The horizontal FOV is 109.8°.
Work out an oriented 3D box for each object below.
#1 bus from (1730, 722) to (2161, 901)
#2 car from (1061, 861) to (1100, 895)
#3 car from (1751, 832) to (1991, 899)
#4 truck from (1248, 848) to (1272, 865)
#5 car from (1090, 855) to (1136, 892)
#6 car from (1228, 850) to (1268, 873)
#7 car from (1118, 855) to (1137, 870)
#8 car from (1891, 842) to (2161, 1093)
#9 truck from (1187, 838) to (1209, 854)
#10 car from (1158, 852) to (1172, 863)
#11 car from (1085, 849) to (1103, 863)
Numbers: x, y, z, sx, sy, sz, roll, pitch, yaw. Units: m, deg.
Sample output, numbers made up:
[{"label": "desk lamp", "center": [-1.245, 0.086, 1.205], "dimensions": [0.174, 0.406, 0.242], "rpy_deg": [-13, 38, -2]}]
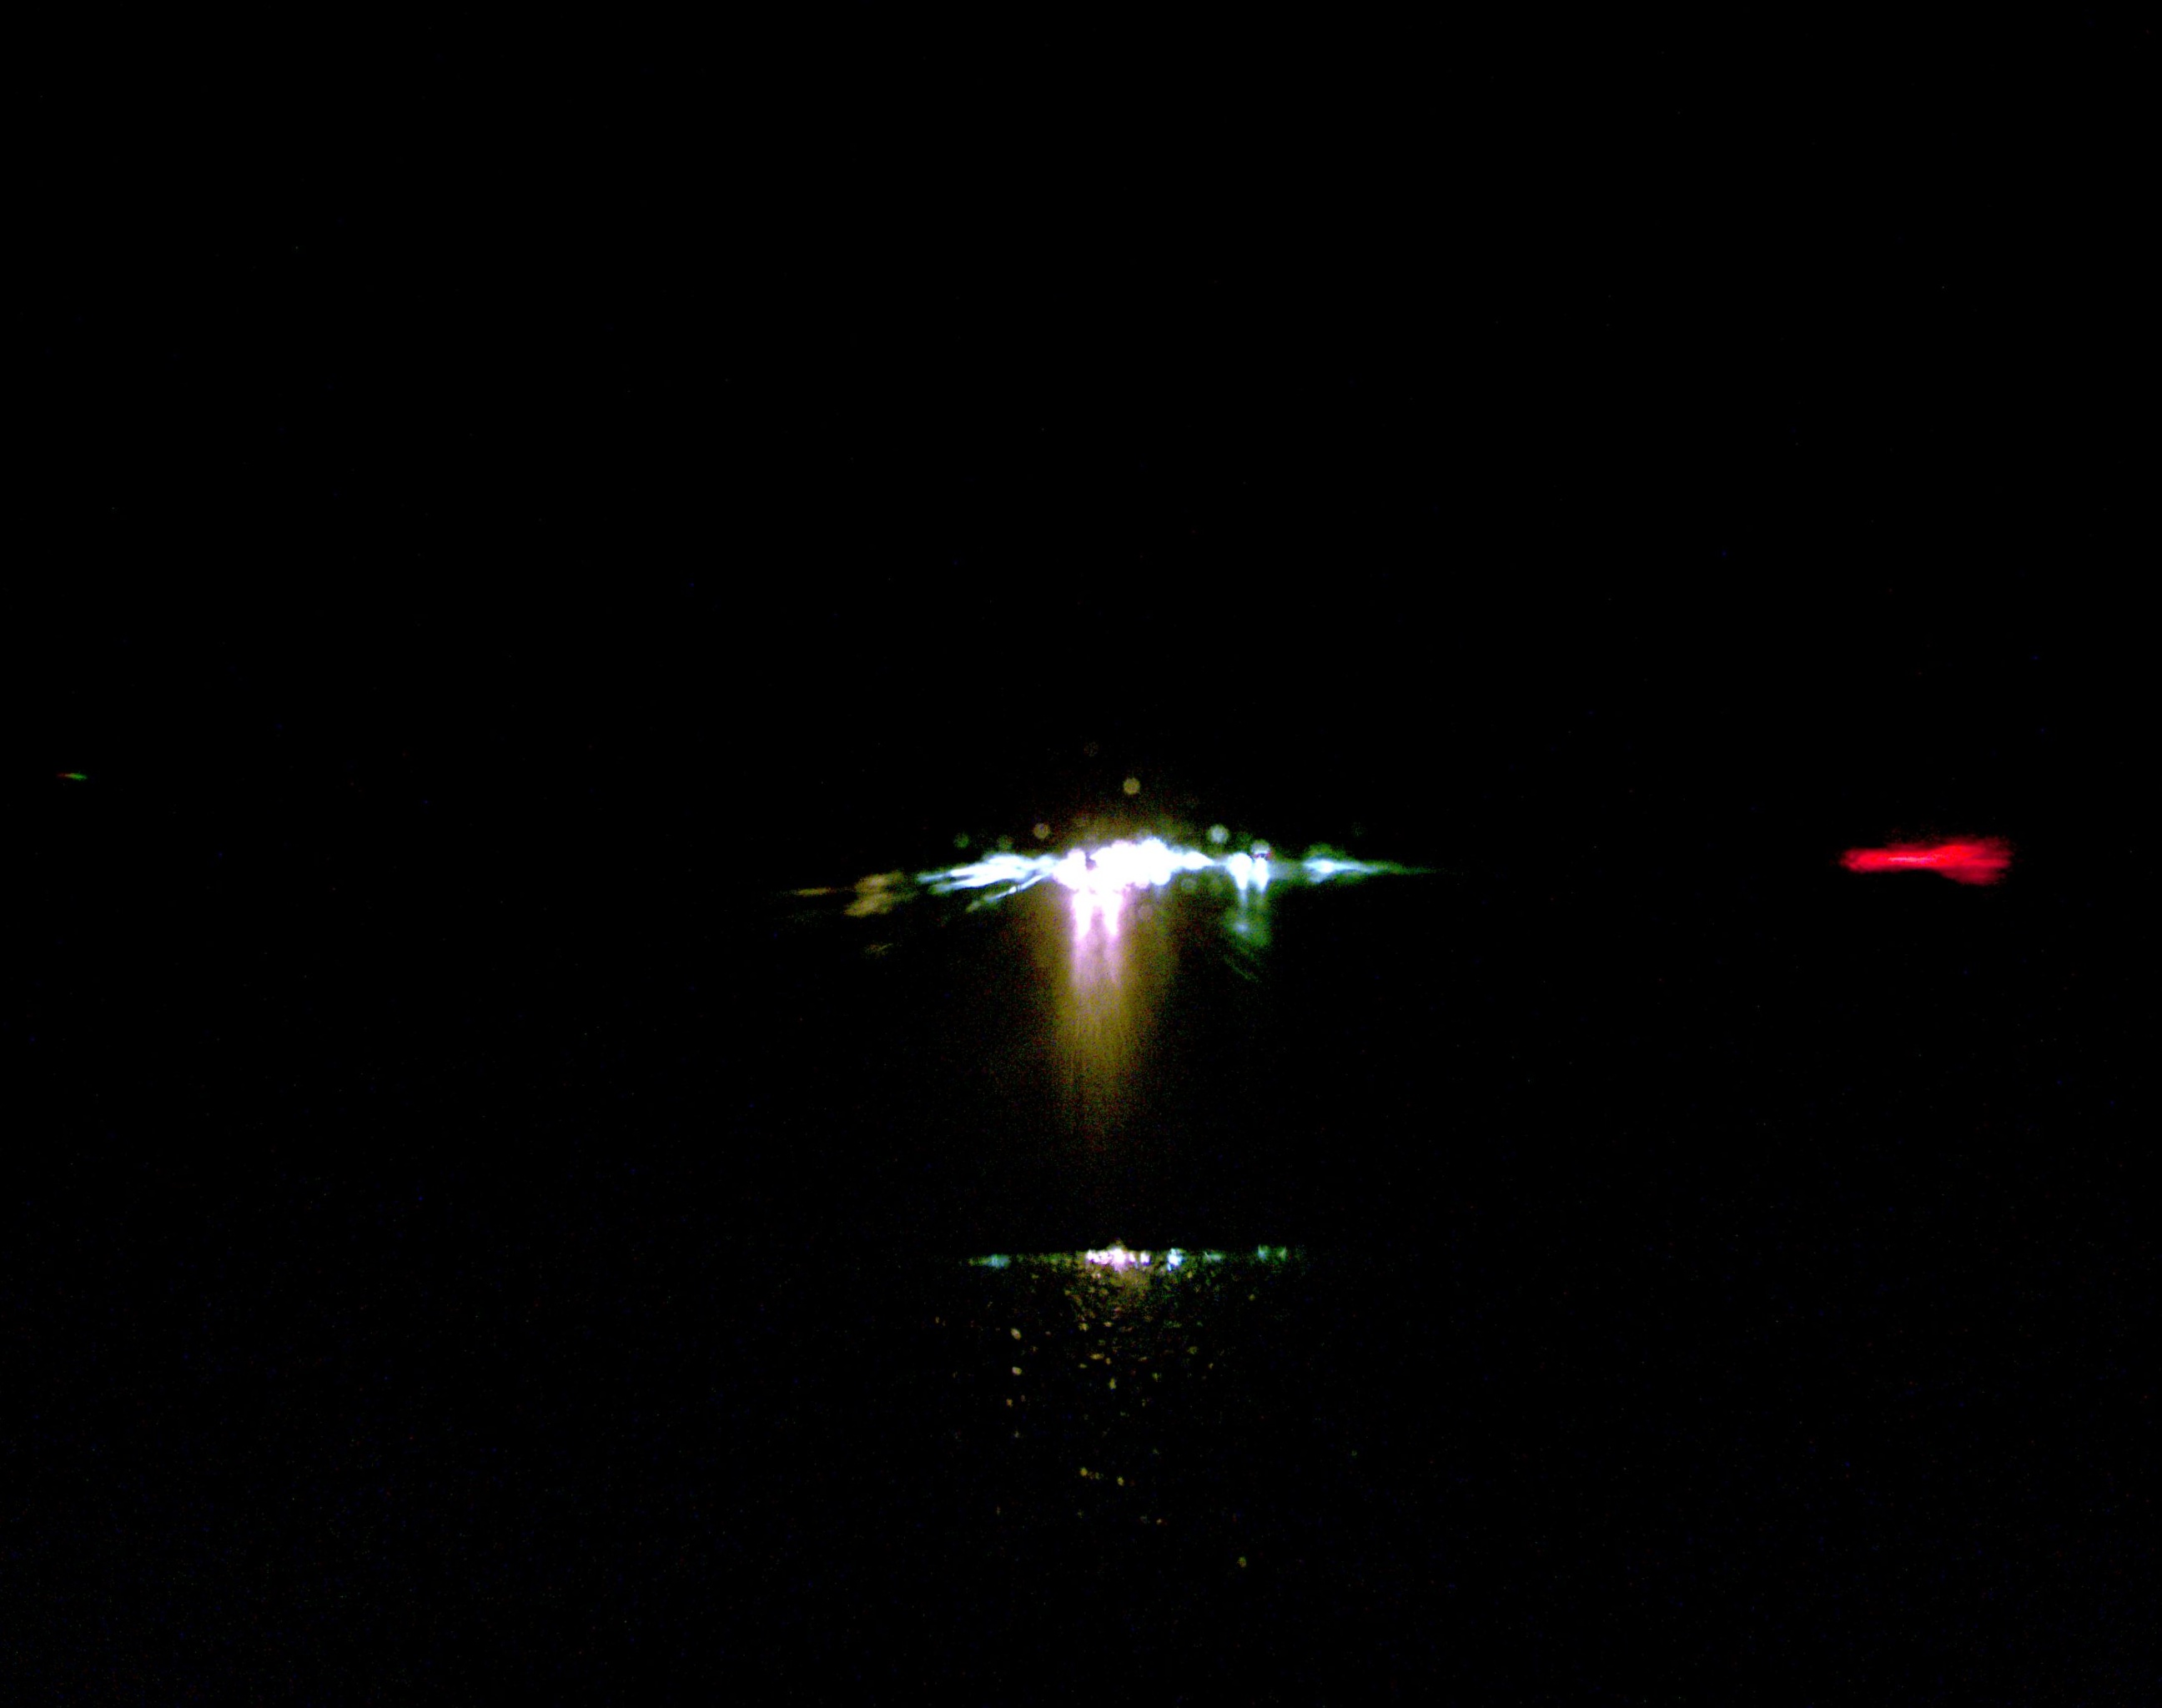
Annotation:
[{"label": "bus", "center": [28.506, -1.152, 23.126], "dimensions": [3.082, 4.464, 17.011], "rpy_deg": [-3, 0, 1]}, {"label": "car", "center": [0.001, 0.997, 32.758], "dimensions": [1.525, 1.256, 3.369], "rpy_deg": [-3, 1, 1]}, {"label": "car", "center": [21.129, 0.263, 20.659], "dimensions": [1.884, 1.548, 4.460], "rpy_deg": [-3, 1, 0]}, {"label": "truck", "center": [26.001, 0.281, 110.692], "dimensions": [1.998, 2.333, 6.438], "rpy_deg": [-3, 1, 0]}, {"label": "car", "center": [1.454, 0.907, 35.424], "dimensions": [1.998, 1.542, 4.001], "rpy_deg": [-3, -2, 1]}, {"label": "car", "center": [12.367, 0.540, 56.594], "dimensions": [1.998, 1.551, 4.588], "rpy_deg": [-3, 1, 2]}, {"label": "car", "center": [5.520, 0.981, 90.276], "dimensions": [1.998, 1.551, 4.588], "rpy_deg": [-3, 1, 2]}, {"label": "car", "center": [7.467, 0.683, 4.076], "dimensions": [1.998, 1.433, 4.000], "rpy_deg": [-3, 1, 1]}, {"label": "truck", "center": [30.843, -2.206, 201.104], "dimensions": [3.508, 3.865, 17.180], "rpy_deg": [-3, 0, 1]}, {"label": "car", "center": [13.660, 0.560, 123.952], "dimensions": [1.998, 1.797, 4.000], "rpy_deg": [-3, 1, 2]}, {"label": "car", "center": [1.425, 0.205, 82.227], "dimensions": [1.813, 1.477, 3.582], "rpy_deg": [-3, 1, 0]}]
